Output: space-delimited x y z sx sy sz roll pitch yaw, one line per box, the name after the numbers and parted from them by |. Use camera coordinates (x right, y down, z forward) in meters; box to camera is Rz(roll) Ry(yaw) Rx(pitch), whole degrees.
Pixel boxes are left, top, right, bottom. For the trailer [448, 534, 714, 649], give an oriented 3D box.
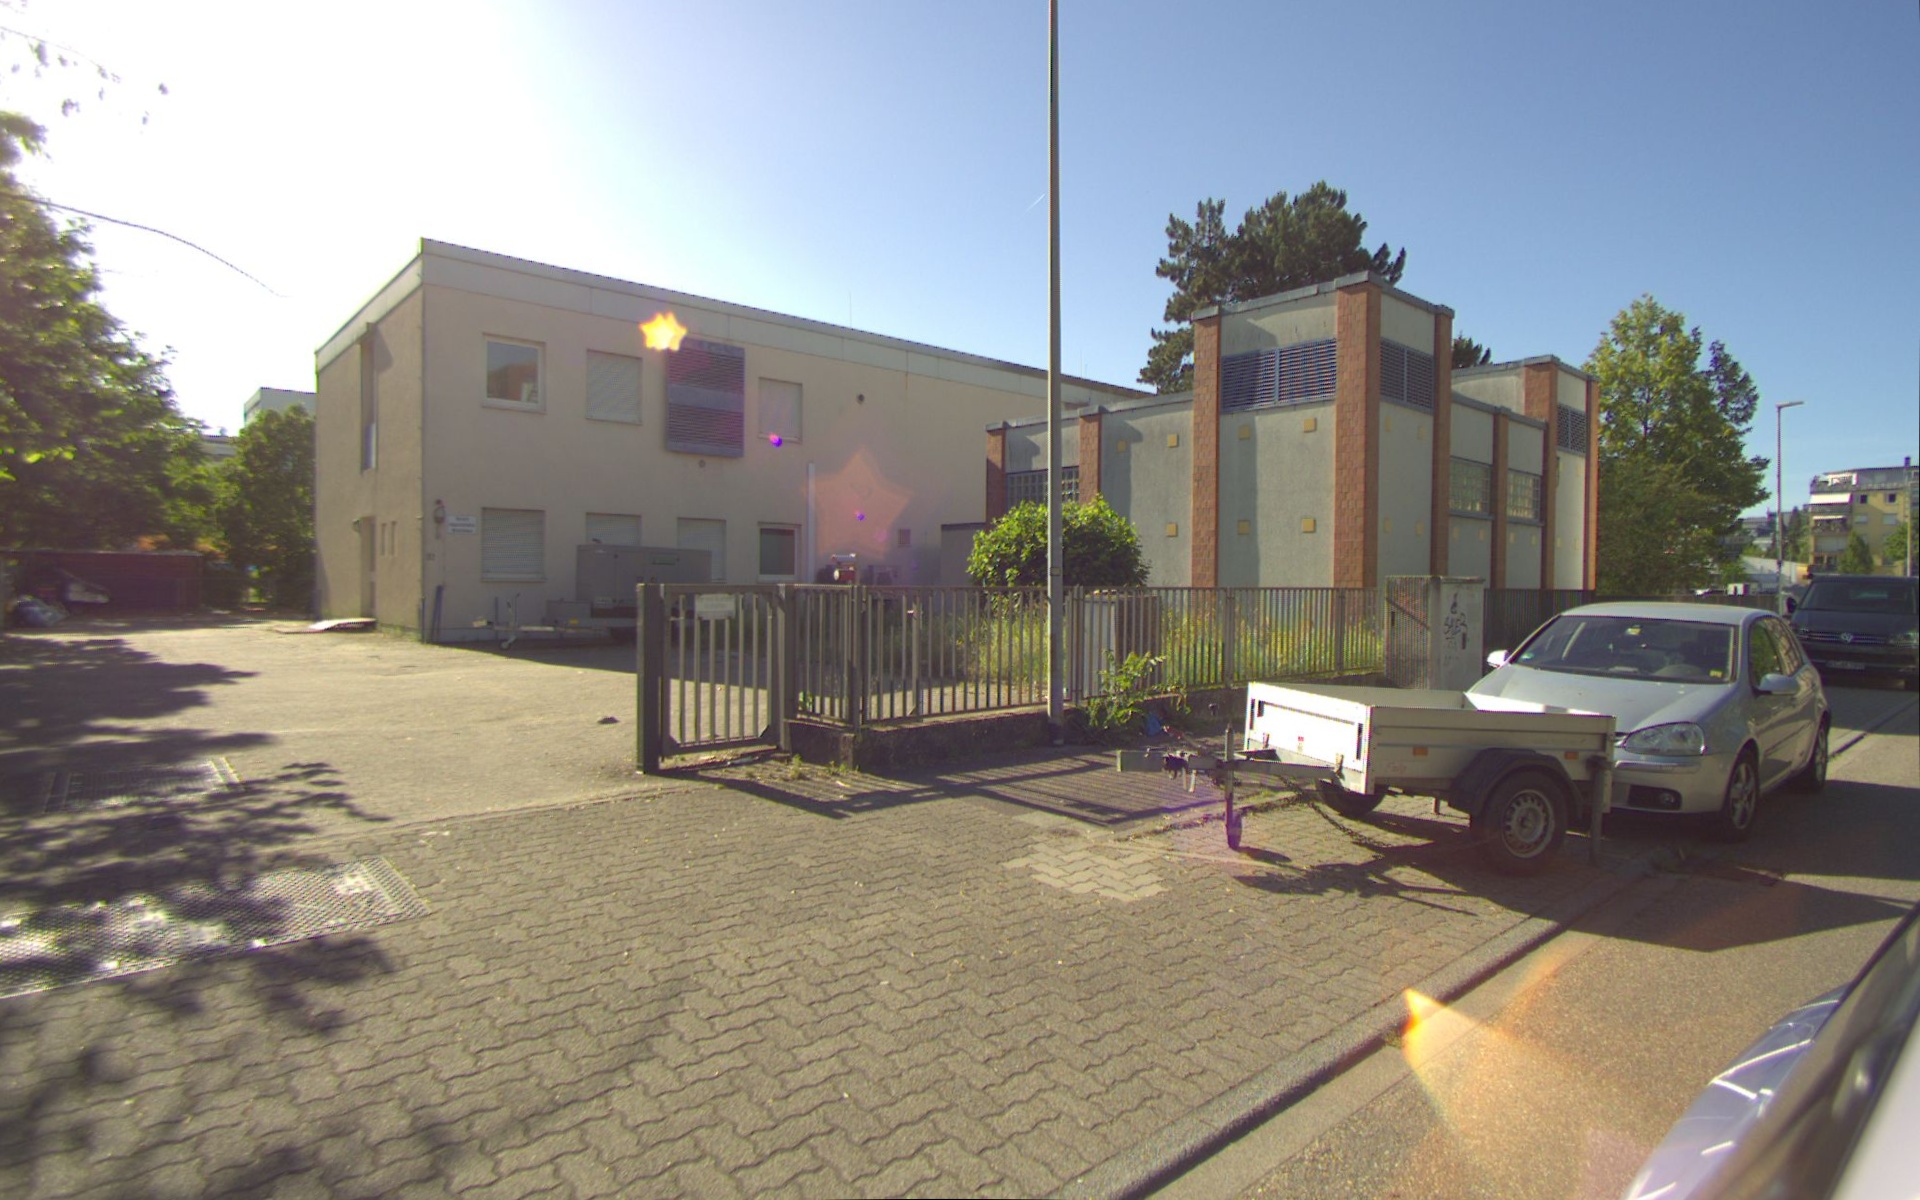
-7.635 -0.226 20.653 4.686 2.092 1.997 -2 2 -41 | trailer

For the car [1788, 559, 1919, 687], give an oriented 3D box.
16.915 0.318 18.547 4.742 2.047 1.947 -1 3 -42 | car

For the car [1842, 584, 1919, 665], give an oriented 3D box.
21.807 0.507 23.219 4.220 1.649 1.829 -1 3 -42 | car

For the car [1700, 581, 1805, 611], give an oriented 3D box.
45.428 -0.268 58.083 1.964 1.630 4.423 -1 1 -38 | car

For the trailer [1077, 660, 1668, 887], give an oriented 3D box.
2.292 0.892 5.800 2.875 0.923 1.379 2 2 -17 | trailer

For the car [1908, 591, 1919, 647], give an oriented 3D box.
27.811 0.526 28.252 3.700 1.490 1.655 -1 3 -42 | car

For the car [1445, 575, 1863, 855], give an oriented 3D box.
5.354 0.631 7.620 3.865 1.581 1.663 0 1 -41 | car
